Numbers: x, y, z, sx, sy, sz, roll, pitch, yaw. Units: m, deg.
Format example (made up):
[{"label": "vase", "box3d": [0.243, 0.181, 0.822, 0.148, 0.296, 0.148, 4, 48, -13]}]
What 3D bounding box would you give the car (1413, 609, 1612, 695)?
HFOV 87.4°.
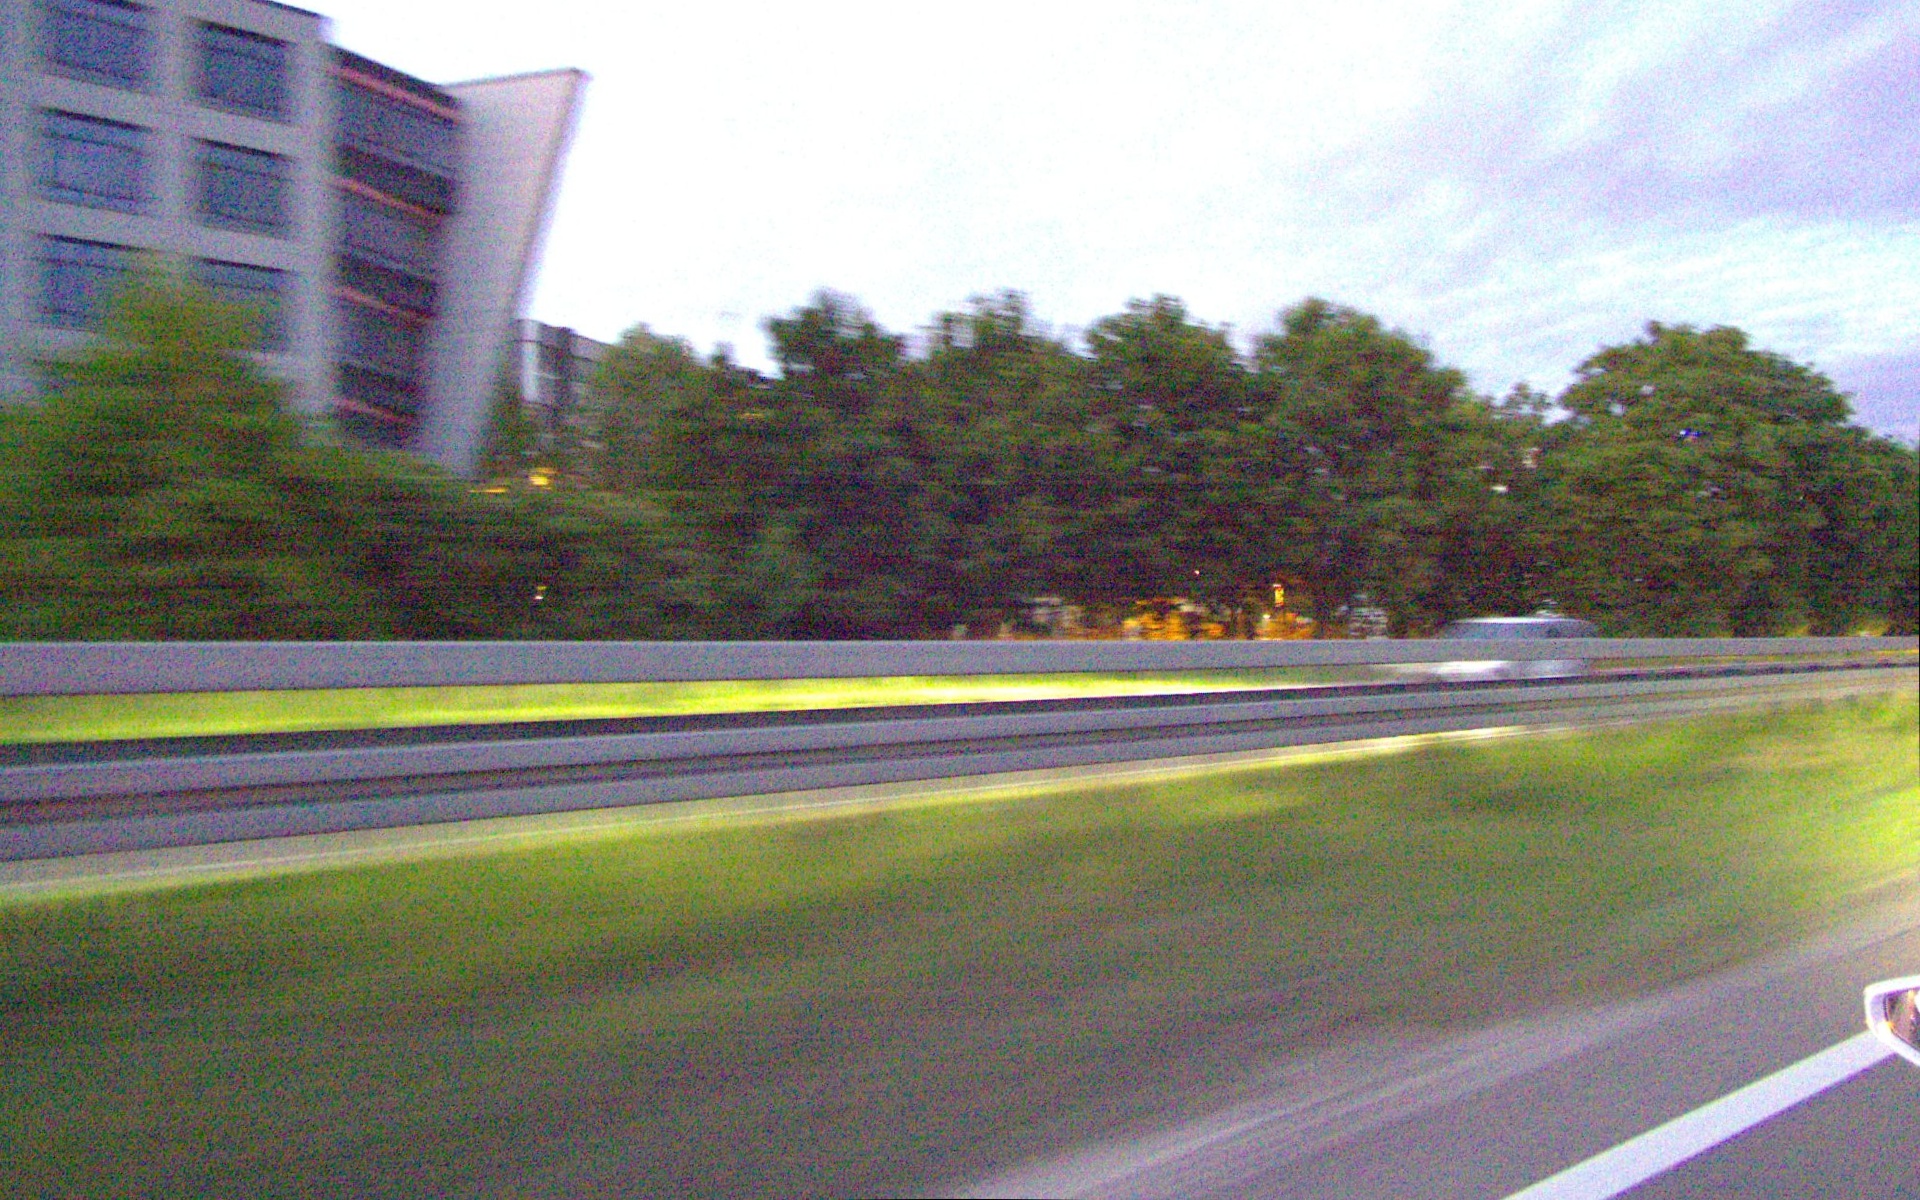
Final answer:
[{"label": "car", "box3d": [11.918, 1.099, 21.575, 4.611, 1.662, 1.760, 1, -3, -33]}]
